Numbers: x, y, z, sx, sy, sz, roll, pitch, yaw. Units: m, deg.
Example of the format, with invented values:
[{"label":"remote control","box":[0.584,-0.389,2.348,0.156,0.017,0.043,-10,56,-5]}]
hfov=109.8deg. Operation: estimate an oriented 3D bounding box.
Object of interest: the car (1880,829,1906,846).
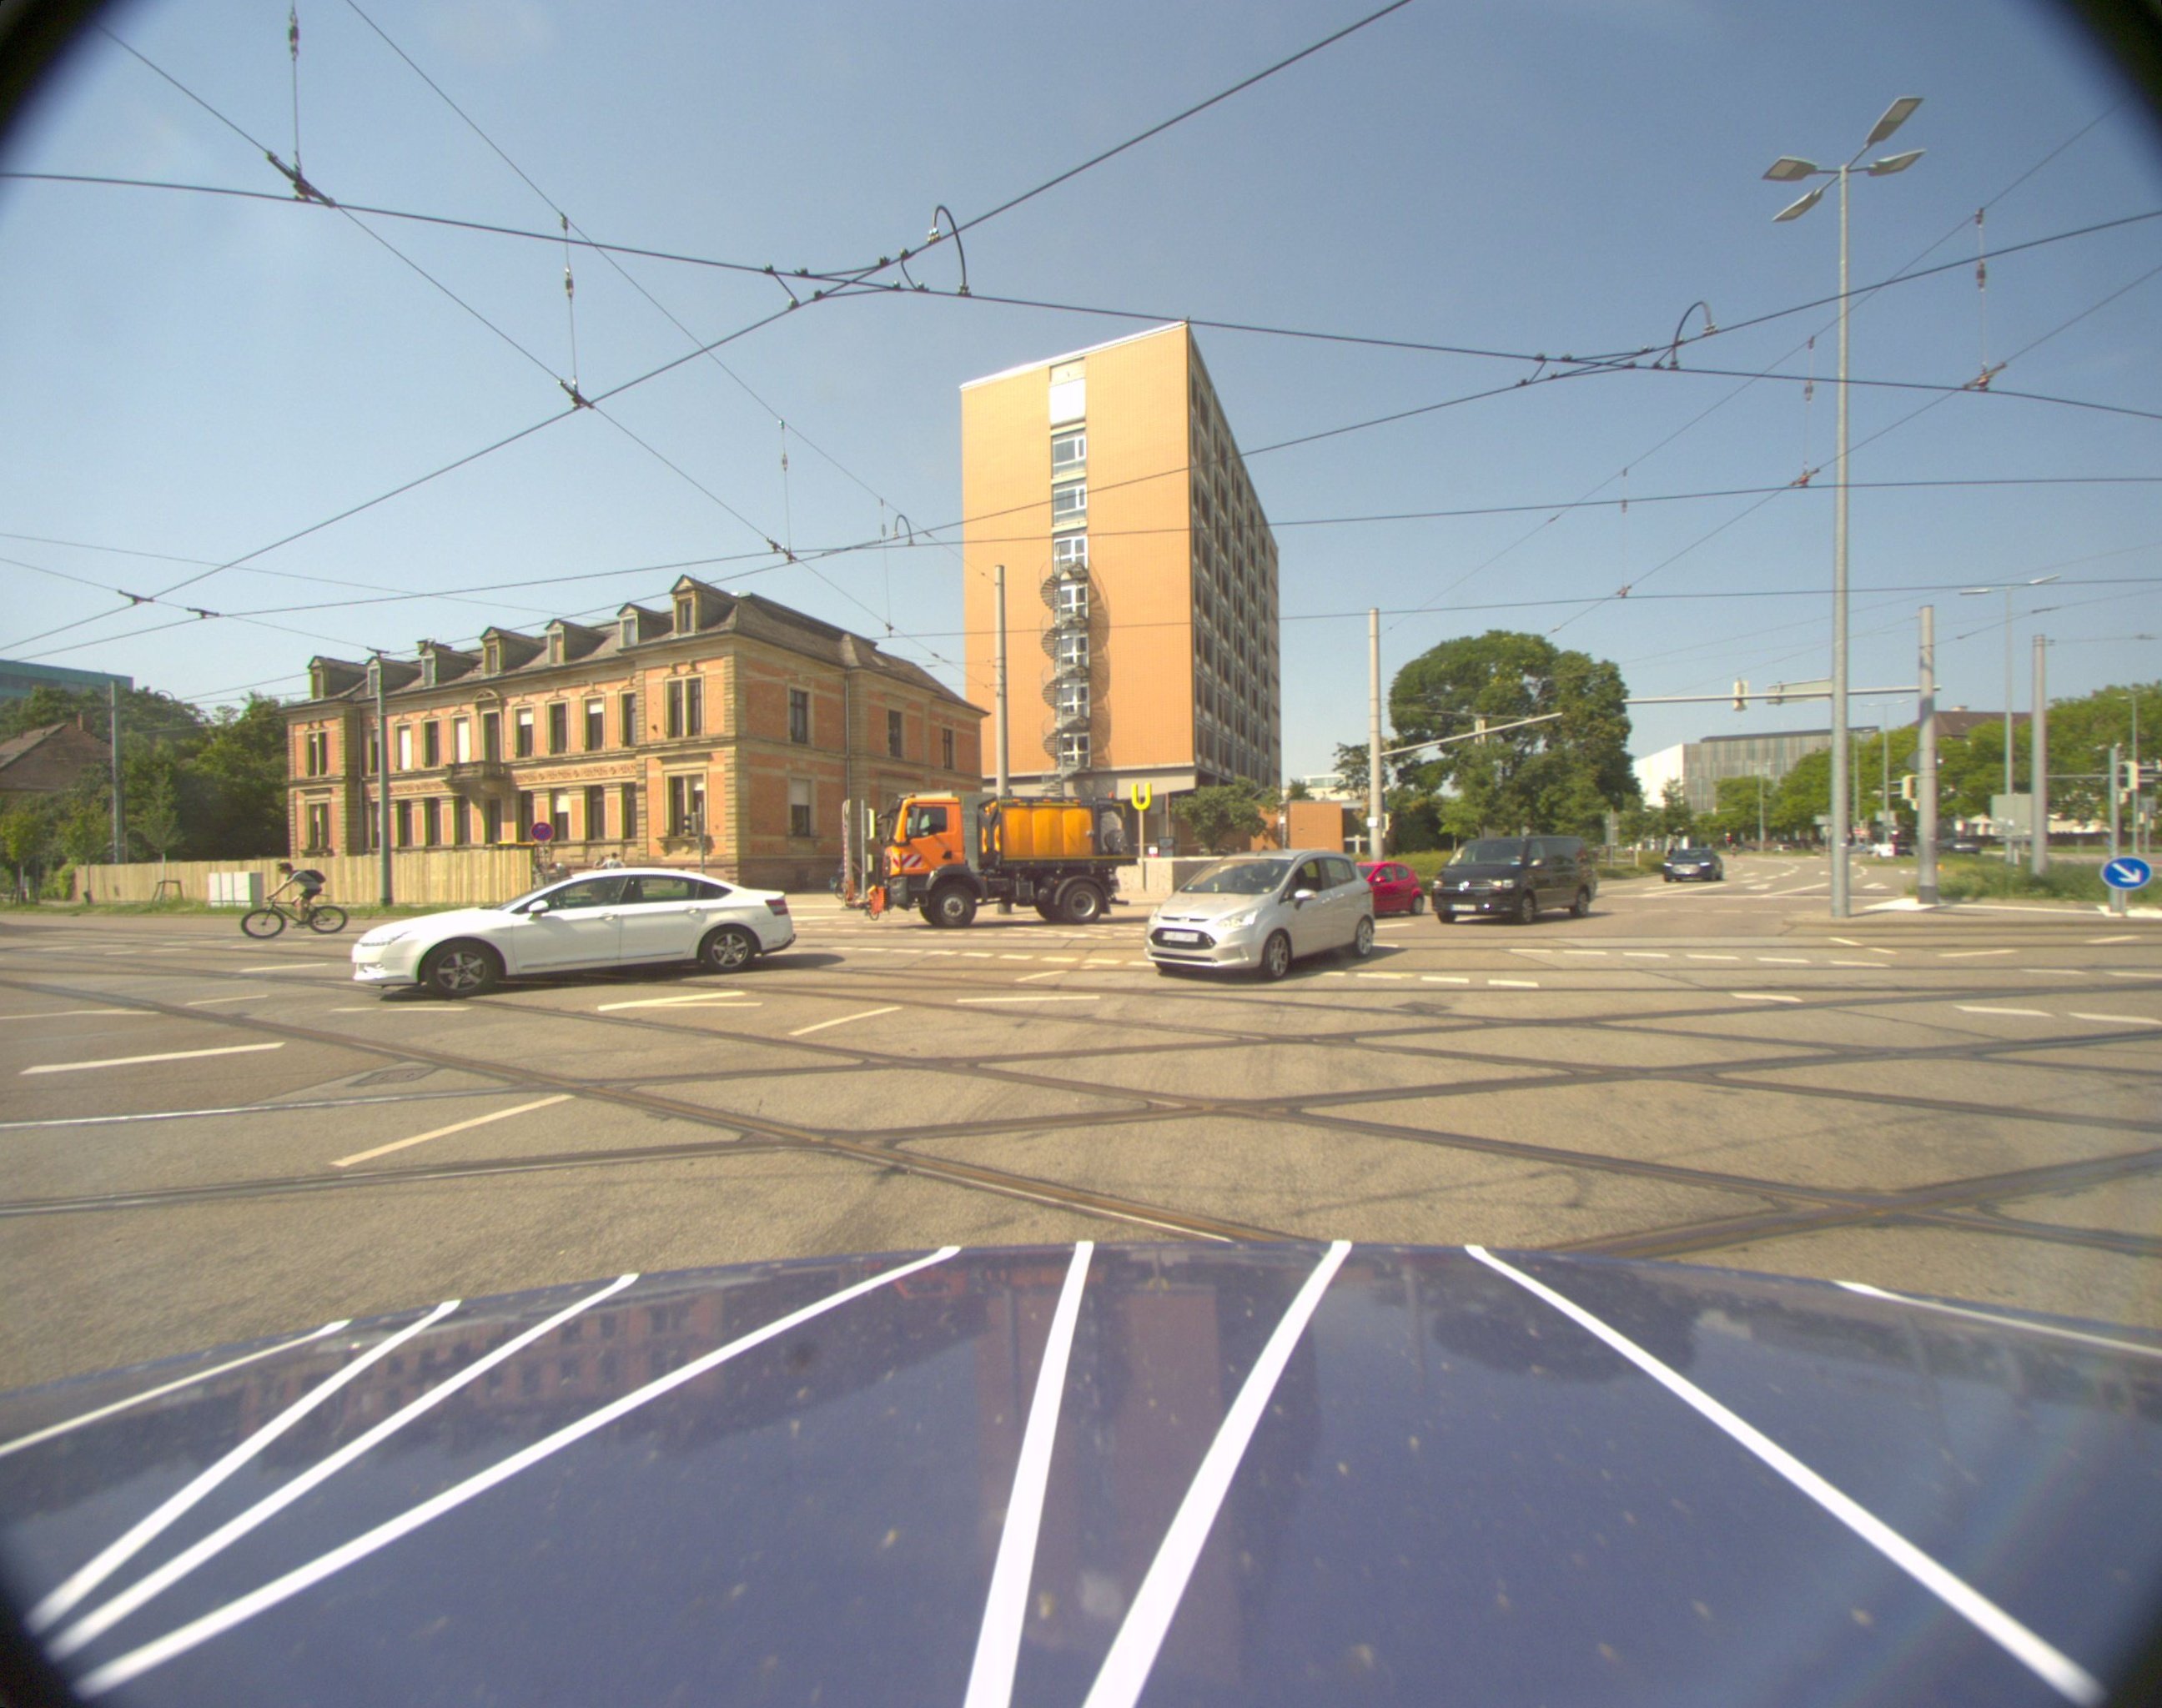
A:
[{"label":"car","box":[76.125,-1.586,71.219,3.713,1.511,1.675,-2,1,-42]}]

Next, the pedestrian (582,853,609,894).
[{"label":"pedestrian","box":[-19.937,0.797,31.203,0.686,1.662,0.684,-1,1,-8]}]

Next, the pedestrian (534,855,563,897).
[{"label":"pedestrian","box":[-21.651,0.872,30.928,0.686,1.662,0.684,-1,1,-8]}]

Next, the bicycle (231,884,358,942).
[{"label":"bicycle","box":[-17.814,1.308,17.258,0.711,1.105,1.859,1,3,35]}]

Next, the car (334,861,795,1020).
[{"label":"car","box":[-6.389,0.943,9.983,4.611,1.609,1.768,-1,-1,-34]}]

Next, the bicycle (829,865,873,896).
[{"label":"bicycle","box":[-8.829,1.010,29.283,0.470,1.120,1.960,-1,0,22]}]

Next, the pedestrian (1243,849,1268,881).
[{"label":"pedestrian","box":[7.793,0.466,33.873,0.784,1.387,0.850,0,2,38]}]

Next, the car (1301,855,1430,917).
[{"label":"car","box":[7.368,0.767,19.599,3.365,1.400,1.513,-1,1,-36]}]

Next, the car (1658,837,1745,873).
[{"label":"car","box":[29.999,0.035,36.709,4.707,1.631,1.995,-1,0,-34]}]

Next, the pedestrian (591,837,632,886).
[{"label":"pedestrian","box":[-17.473,0.280,28.293,1.039,1.803,0.684,-1,1,-8]}]

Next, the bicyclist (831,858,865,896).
[{"label":"bicyclist","box":[-8.922,0.864,29.122,0.801,1.415,0.932,-1,1,25]}]

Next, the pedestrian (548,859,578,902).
[{"label":"pedestrian","box":[-20.414,1.032,29.948,0.686,1.662,0.684,-1,1,-8]}]

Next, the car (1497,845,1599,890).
[{"label":"car","box":[15.324,0.402,24.902,3.514,1.331,1.513,-2,1,-34]}]

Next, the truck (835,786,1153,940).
[{"label":"truck","box":[-2.192,0.105,18.776,7.197,3.210,3.037,-2,0,-20]}]

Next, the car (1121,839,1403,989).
[{"label":"car","box":[2.657,0.628,10.404,4.370,1.586,1.688,-2,2,-45]}]

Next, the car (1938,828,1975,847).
[{"label":"car","box":[76.927,-1.455,66.807,4.666,1.643,1.897,-2,1,-44]}]

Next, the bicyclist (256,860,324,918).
[{"label":"bicyclist","box":[-17.882,0.771,17.178,1.099,1.227,0.866,0,1,36]}]

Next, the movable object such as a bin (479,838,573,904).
[{"label":"movable object such as a bin","box":[-23.893,0.684,32.655,4.443,2.656,1.822,0,1,35]}]

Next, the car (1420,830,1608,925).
[{"label":"car","box":[10.065,0.441,17.512,4.894,1.919,1.896,-1,1,-36]}]

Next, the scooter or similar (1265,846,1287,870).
[{"label":"scooter or similar","box":[9.594,0.182,37.368,1.147,1.150,0.442,-2,1,-40]}]
